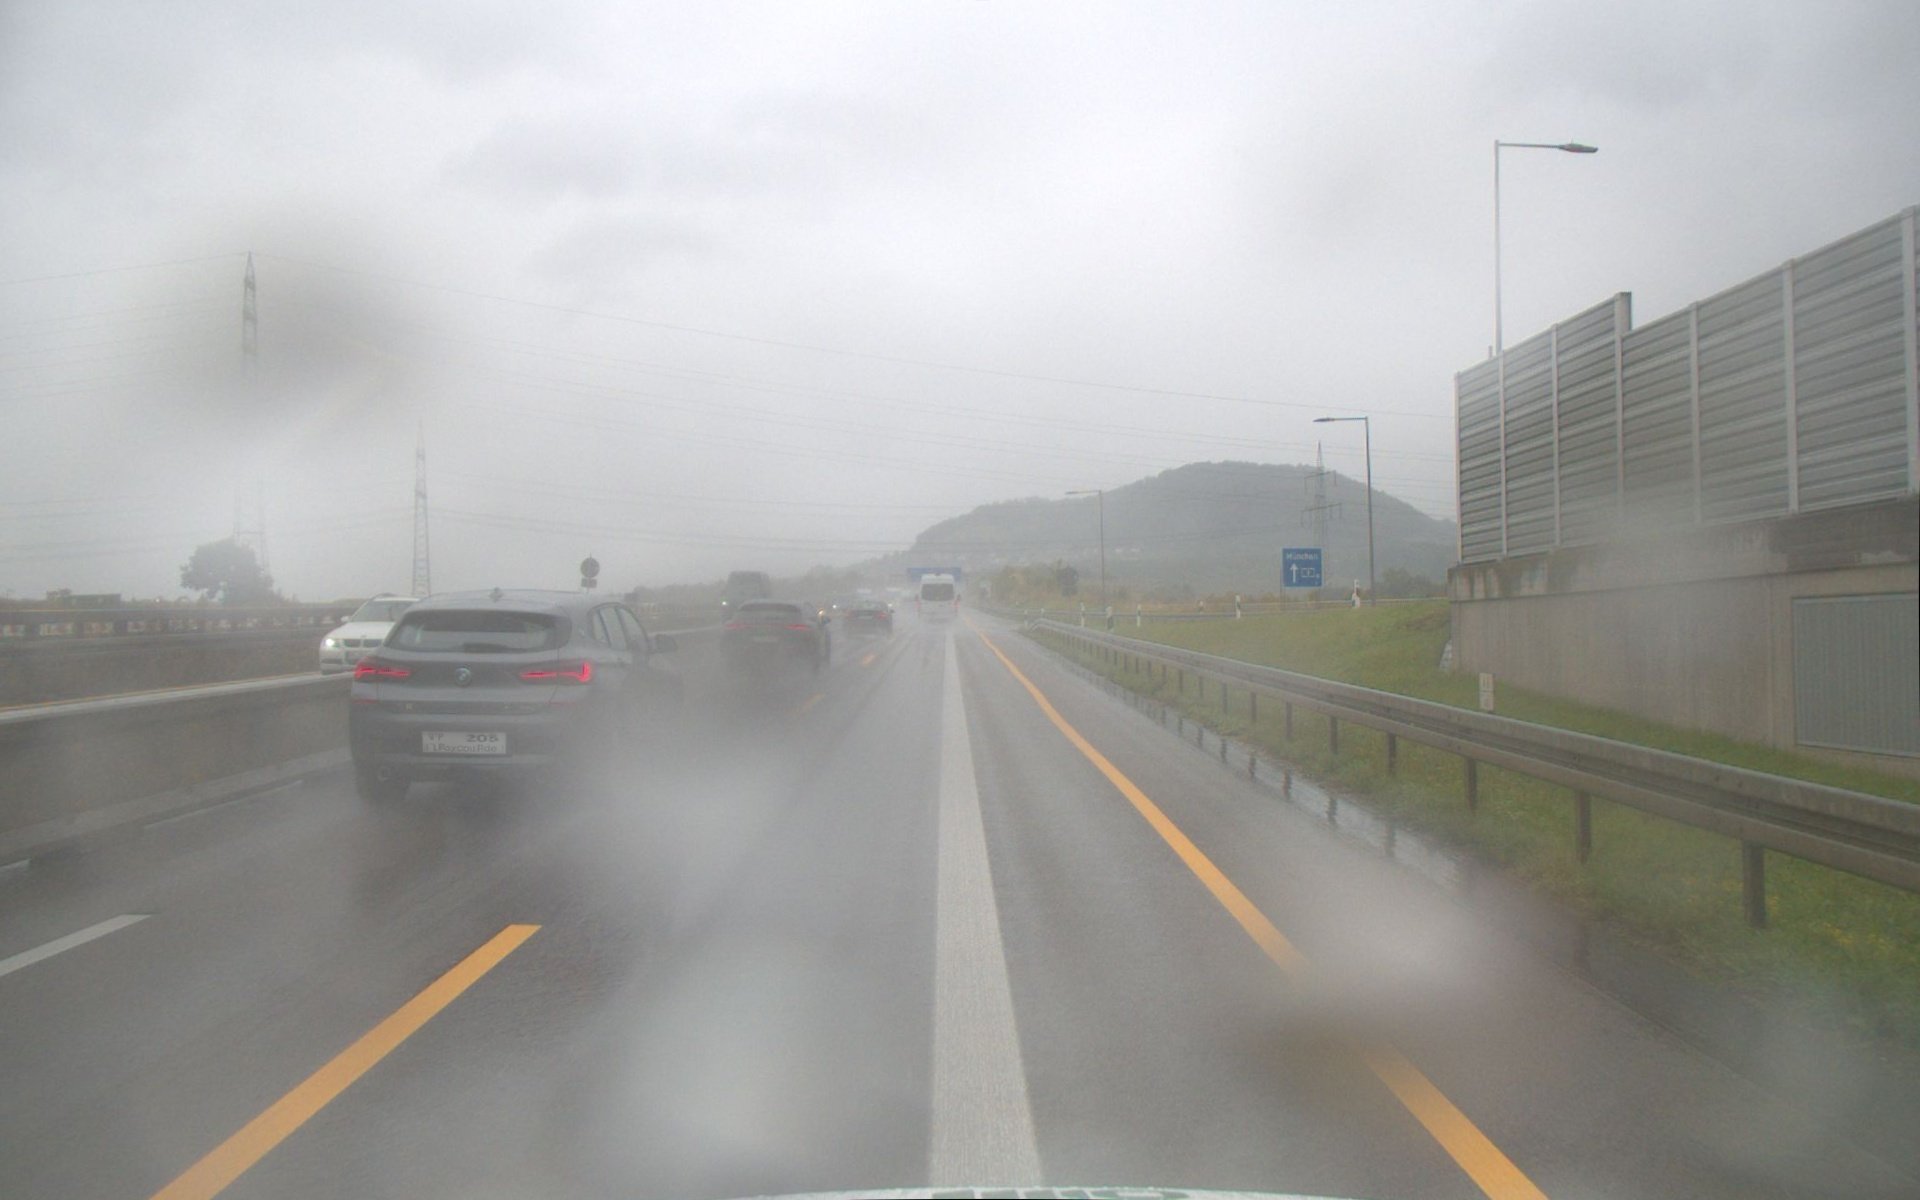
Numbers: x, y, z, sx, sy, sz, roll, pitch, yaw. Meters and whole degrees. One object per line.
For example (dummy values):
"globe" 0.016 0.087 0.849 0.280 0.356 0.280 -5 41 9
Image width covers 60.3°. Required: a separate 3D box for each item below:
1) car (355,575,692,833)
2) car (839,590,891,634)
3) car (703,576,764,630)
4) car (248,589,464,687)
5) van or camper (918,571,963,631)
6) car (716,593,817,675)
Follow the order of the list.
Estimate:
"car" -3.169 0.722 12.971 1.667 1.626 4.840 1 -1 -4
"car" -3.524 0.428 61.442 1.808 1.517 4.258 -2 0 -4
"car" -11.276 0.158 82.735 2.027 2.561 6.177 -1 0 2
"car" -10.082 0.585 28.112 1.692 1.463 5.436 1 0 -1
"van or camper" -0.979 0.070 80.796 1.957 2.826 4.045 1 -1 -4
"car" -3.785 0.685 32.919 1.808 1.517 4.257 1 -1 -4
